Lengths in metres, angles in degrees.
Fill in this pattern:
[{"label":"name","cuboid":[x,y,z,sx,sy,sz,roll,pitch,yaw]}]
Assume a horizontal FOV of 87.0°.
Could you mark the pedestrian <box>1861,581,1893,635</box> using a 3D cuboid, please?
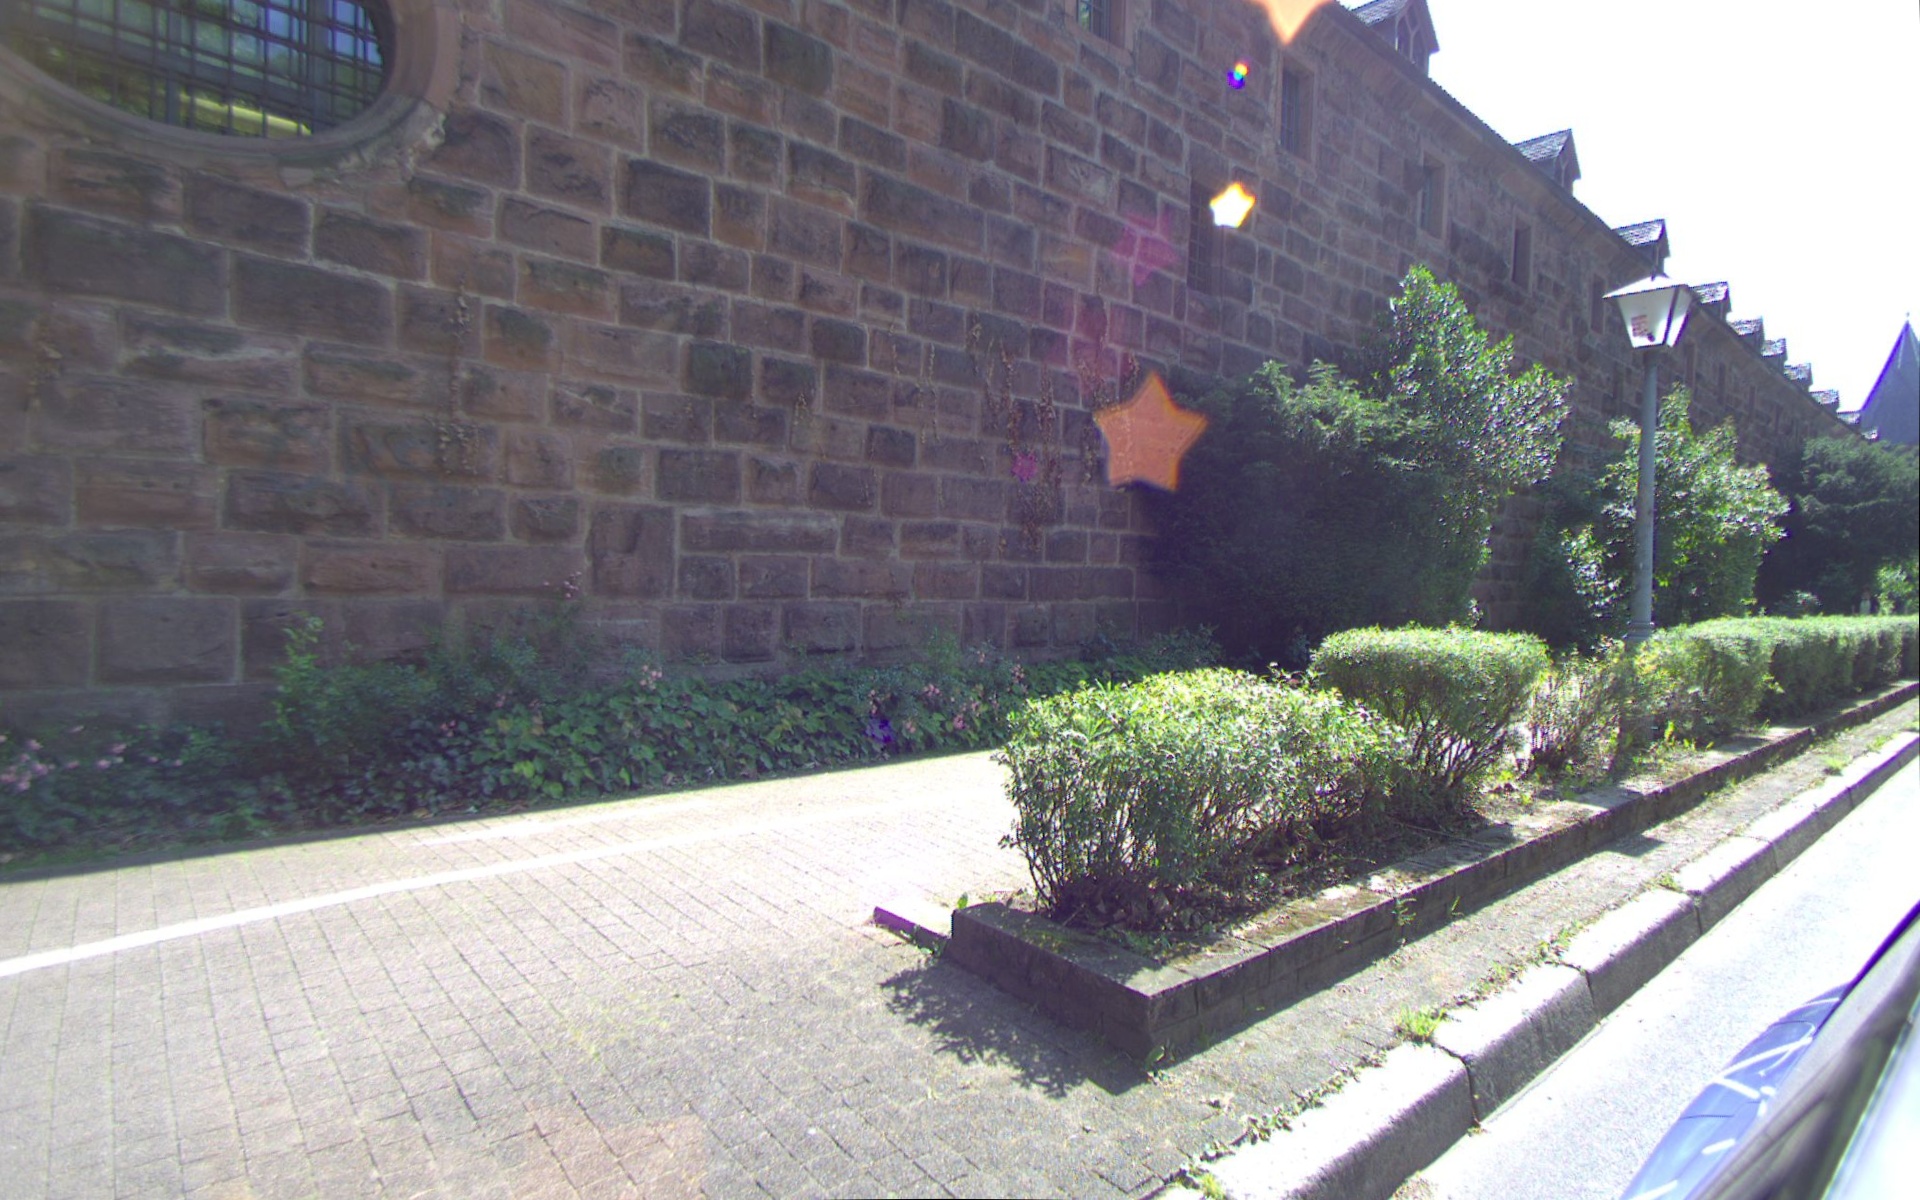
[{"label":"pedestrian","cuboid":[27.237,0.240,30.063,0.554,1.583,0.642,0,0,-41]}]
